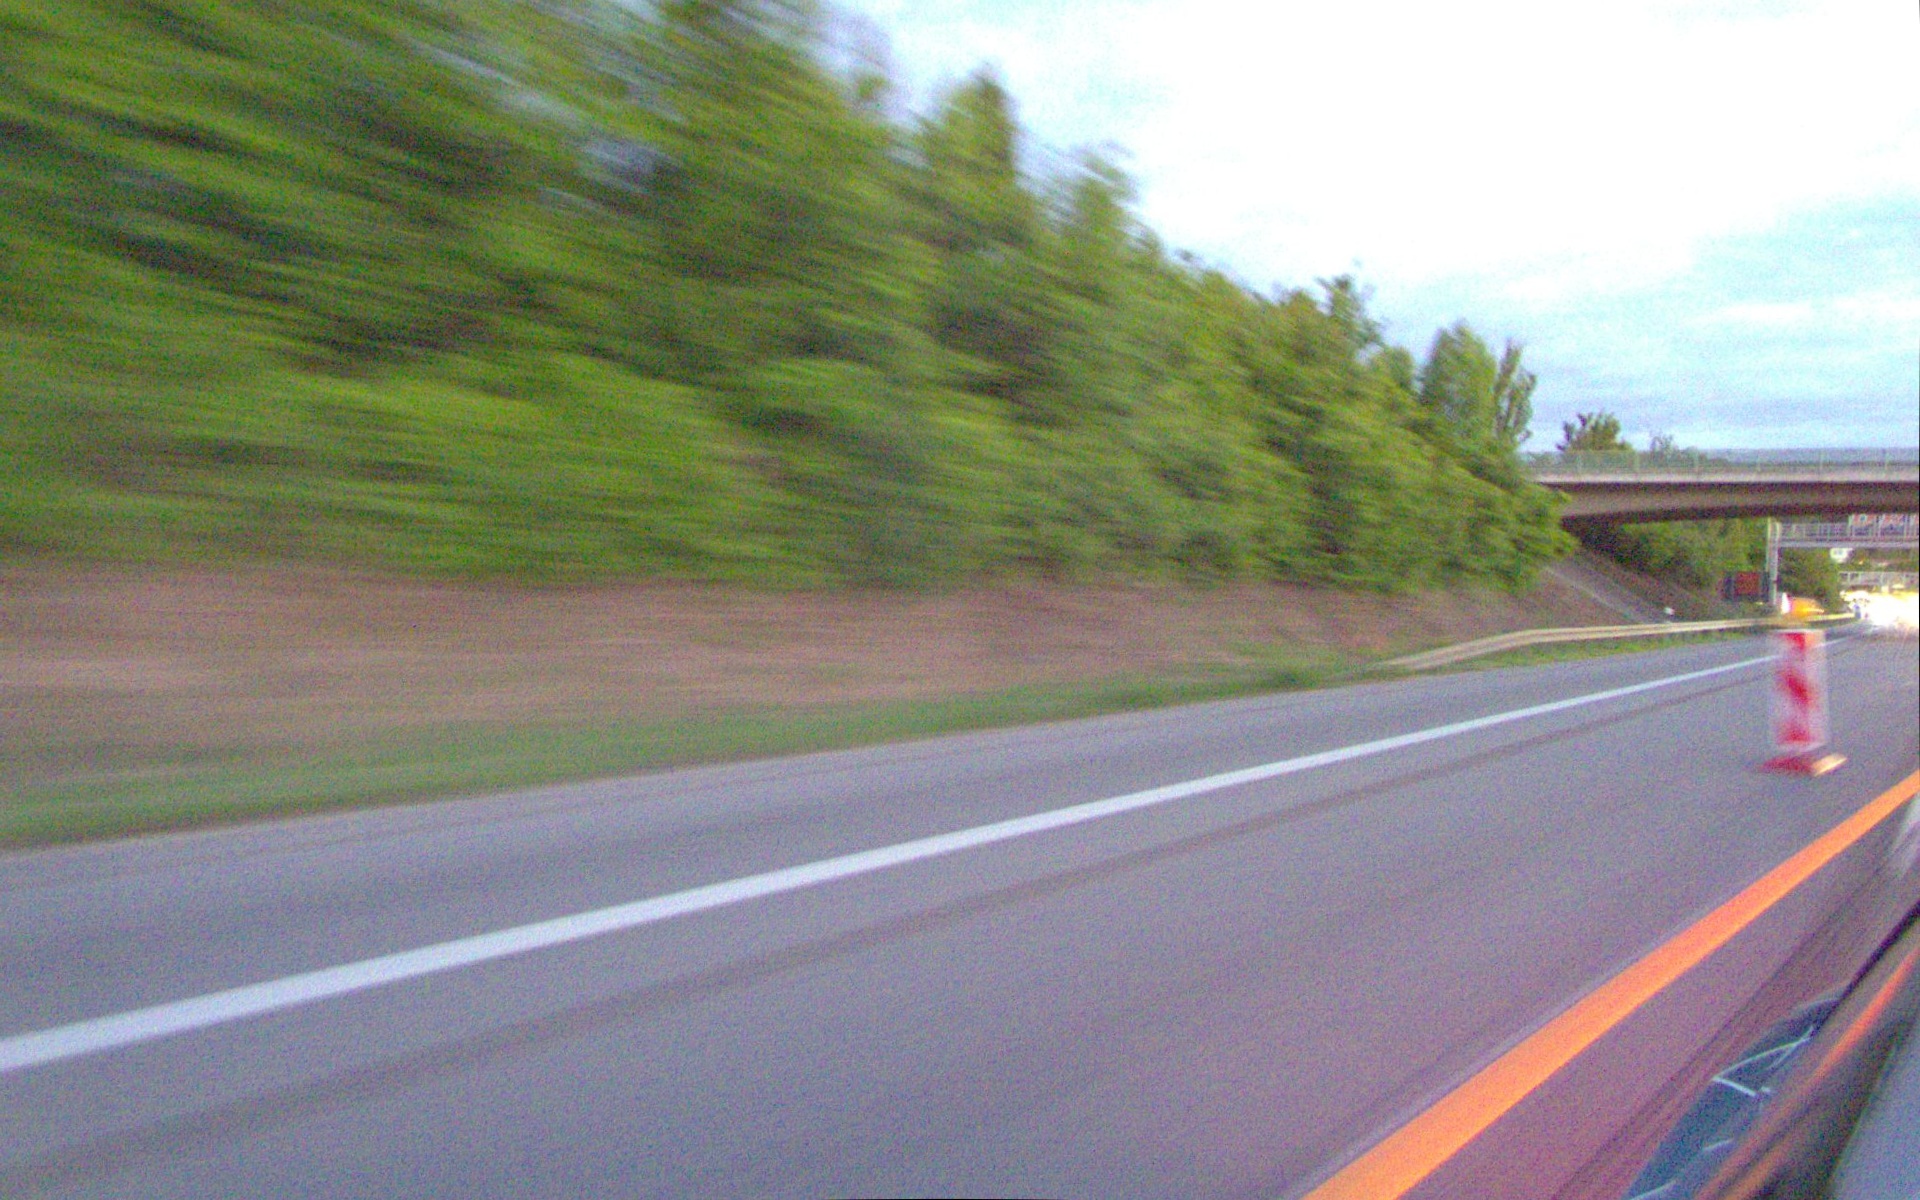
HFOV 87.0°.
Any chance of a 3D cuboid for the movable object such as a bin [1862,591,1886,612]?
[{"bbox_3d":[142.323,0.201,157.603,2.619,3.147,5.720,2,1,41],"label":"movable object such as a bin"}]
